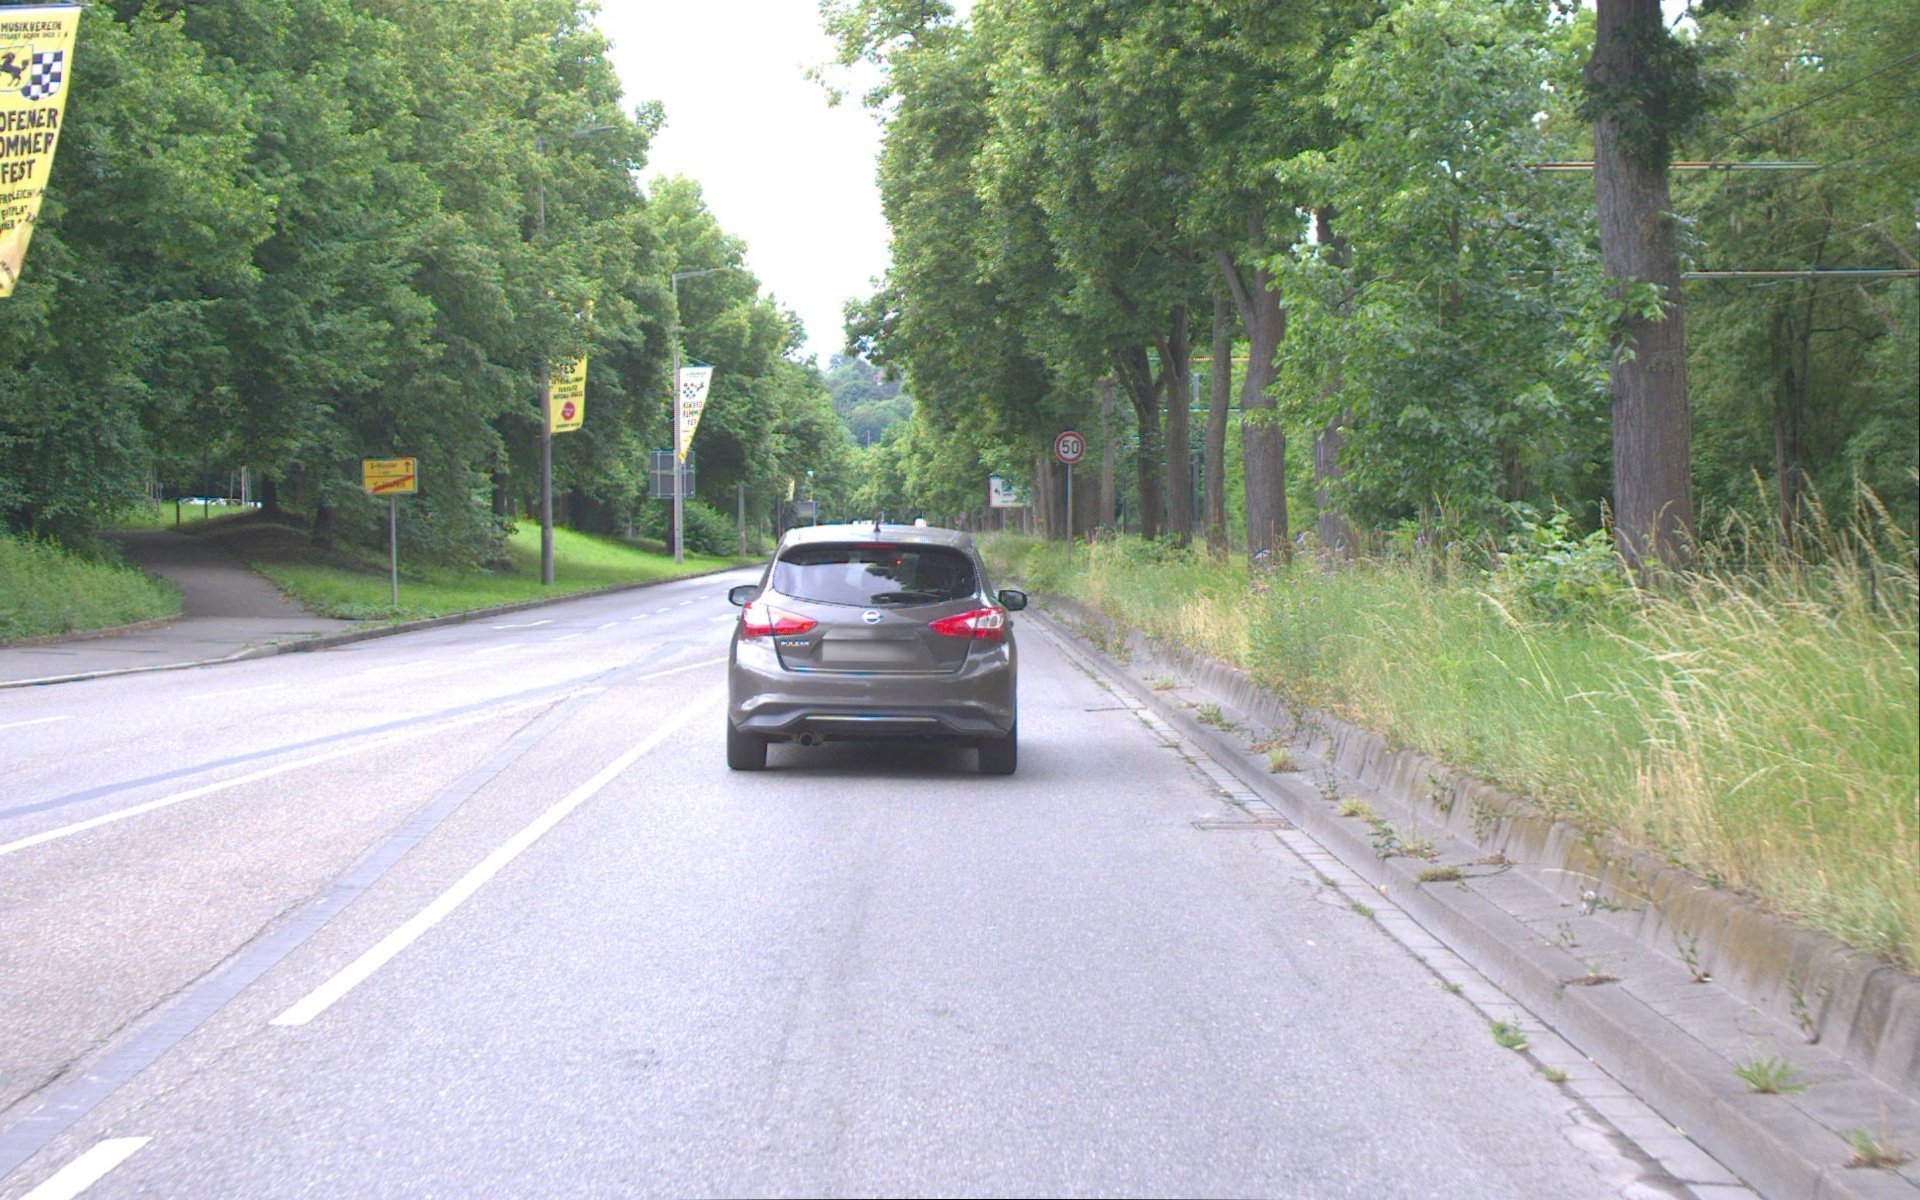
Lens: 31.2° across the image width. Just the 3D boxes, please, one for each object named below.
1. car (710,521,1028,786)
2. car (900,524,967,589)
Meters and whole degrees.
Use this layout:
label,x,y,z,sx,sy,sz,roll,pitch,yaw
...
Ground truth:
label,x,y,z,sx,sy,sz,roll,pitch,yaw
car,-0.498,0.288,22.142,1.837,1.523,3.929,1,1,1
car,-0.627,-1.050,83.513,1.503,1.523,3.671,1,1,1
